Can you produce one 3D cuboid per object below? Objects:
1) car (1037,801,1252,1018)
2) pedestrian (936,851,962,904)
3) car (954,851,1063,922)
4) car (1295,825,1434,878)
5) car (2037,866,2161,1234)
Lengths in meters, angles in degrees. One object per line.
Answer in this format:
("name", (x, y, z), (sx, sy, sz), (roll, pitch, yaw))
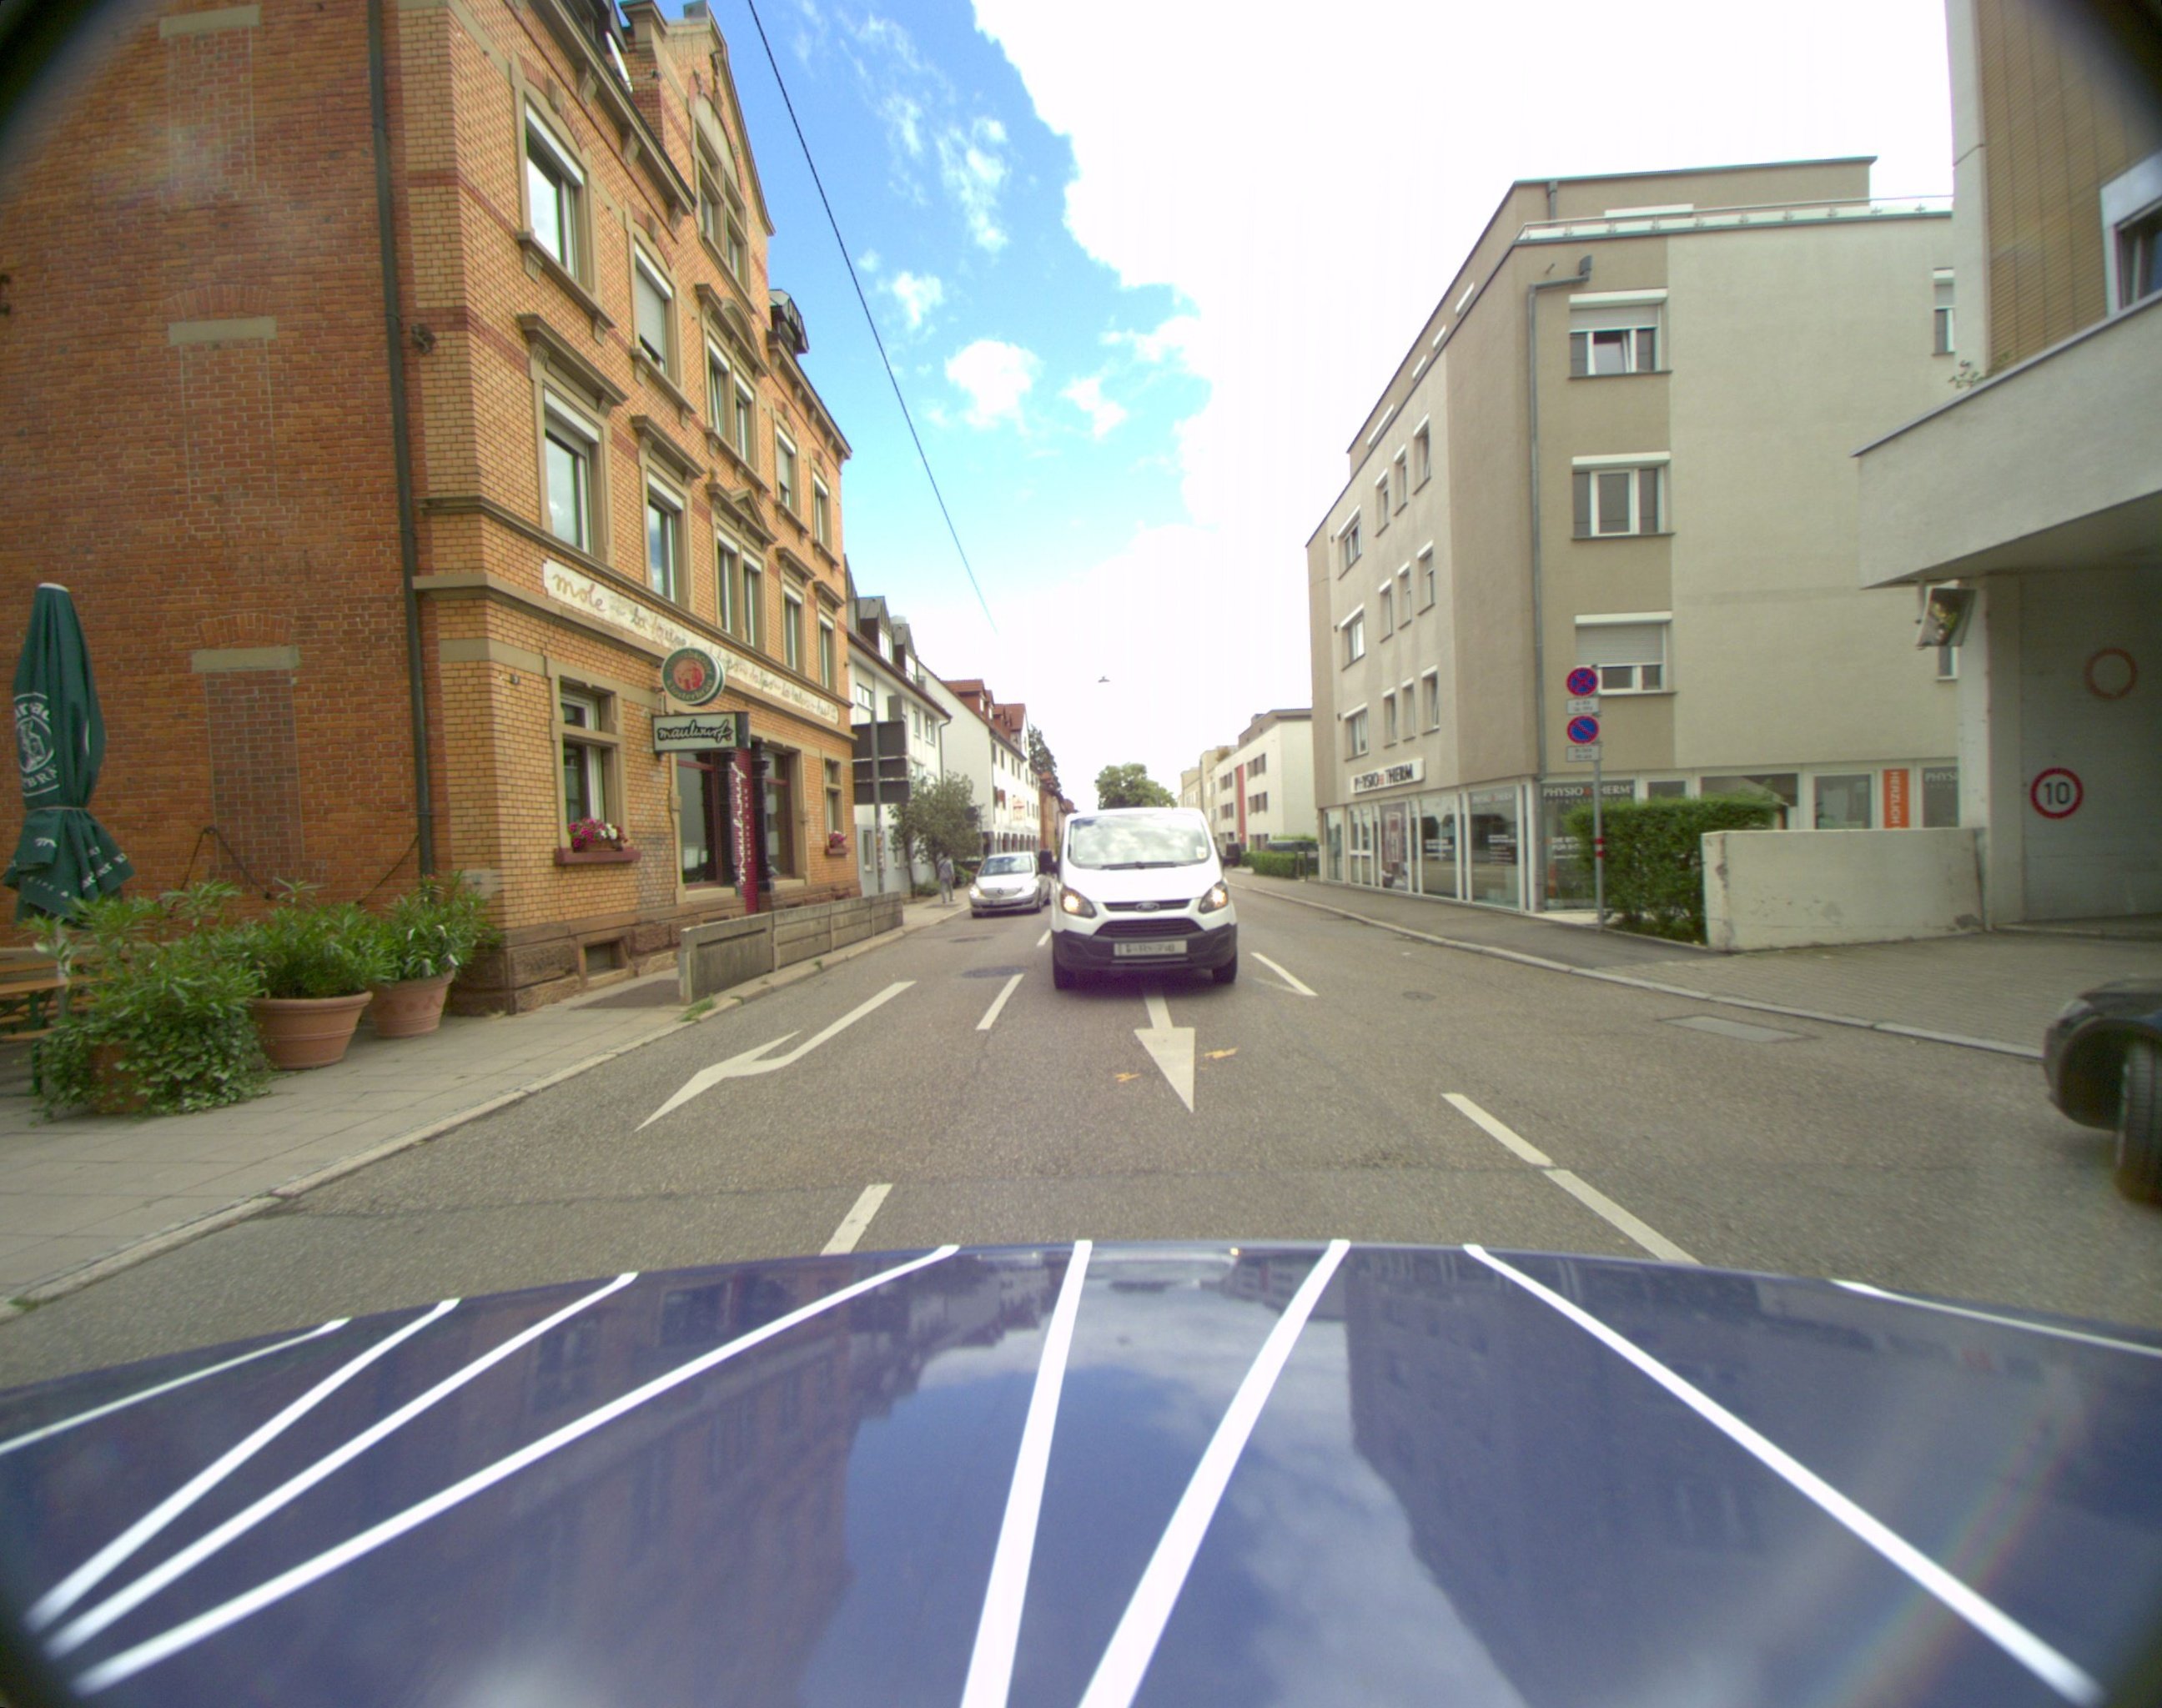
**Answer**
("car", (0.616, 0.490, 9.713), (1.965, 1.986, 5.086), (-2, 1, 0))
("pedestrian", (-4.382, 0.779, 25.323), (0.690, 1.721, 0.649), (-2, 1, 0))
("car", (-1.827, 0.786, 20.844), (1.998, 1.537, 4.572), (-4, 1, 6))
("car", (11.795, -0.104, 31.883), (5.082, 1.986, 1.966), (-2, 1, 4))
("car", (4.331, 0.807, 1.104), (1.653, 1.390, 4.459), (-2, 1, 22))
